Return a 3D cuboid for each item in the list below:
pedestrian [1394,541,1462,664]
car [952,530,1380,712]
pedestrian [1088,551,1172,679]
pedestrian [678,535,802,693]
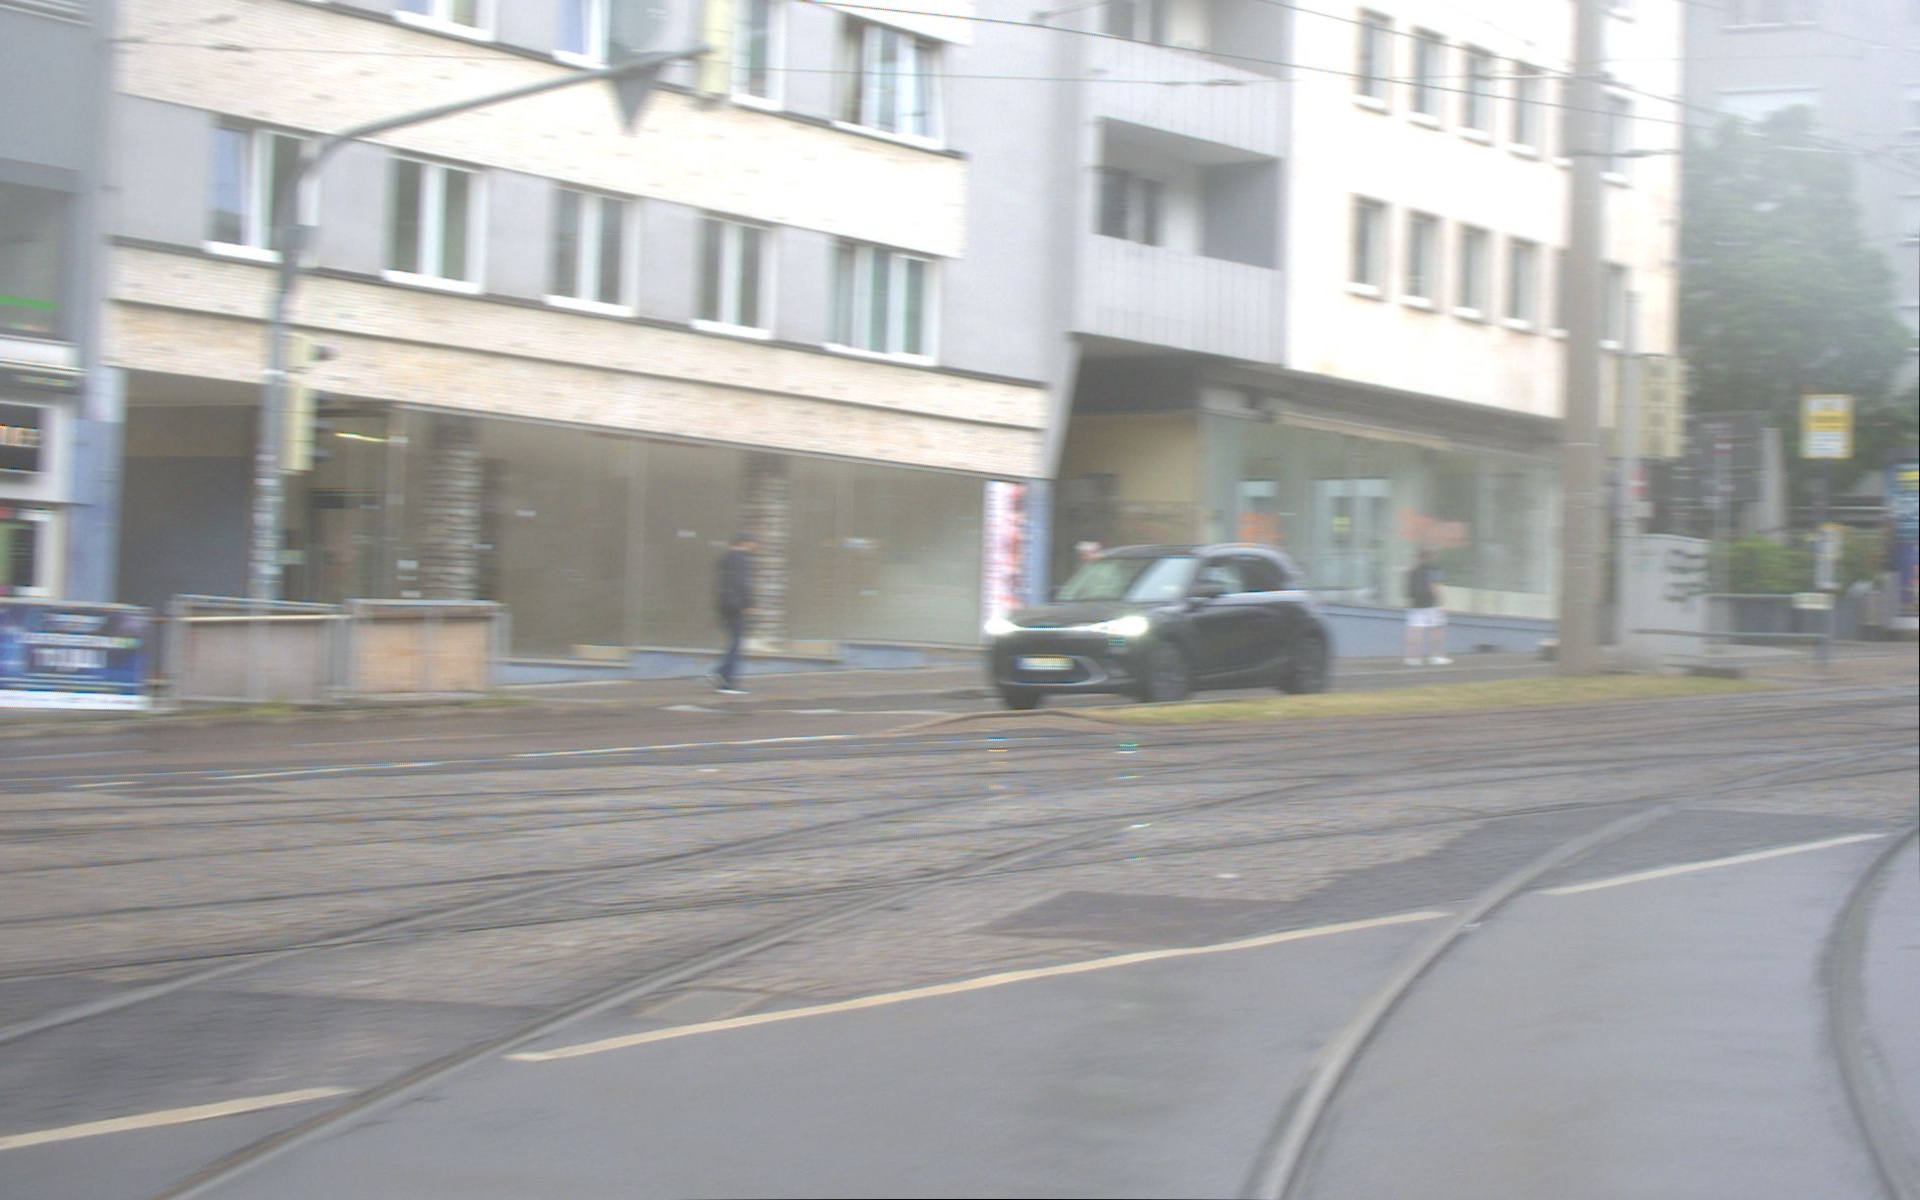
[{"bbox_3d":[6.658,0.040,48.934,0.598,1.732,0.908,0,0,37],"label":"pedestrian"},{"bbox_3d":[2.112,0.180,33.976,1.998,1.667,4.517,0,0,38],"label":"car"},{"bbox_3d":[2.253,0.194,45.481,0.680,1.675,0.996,0,0,37],"label":"pedestrian"},{"bbox_3d":[-2.377,0.150,37.157,0.889,1.675,0.996,0,0,40],"label":"pedestrian"}]
